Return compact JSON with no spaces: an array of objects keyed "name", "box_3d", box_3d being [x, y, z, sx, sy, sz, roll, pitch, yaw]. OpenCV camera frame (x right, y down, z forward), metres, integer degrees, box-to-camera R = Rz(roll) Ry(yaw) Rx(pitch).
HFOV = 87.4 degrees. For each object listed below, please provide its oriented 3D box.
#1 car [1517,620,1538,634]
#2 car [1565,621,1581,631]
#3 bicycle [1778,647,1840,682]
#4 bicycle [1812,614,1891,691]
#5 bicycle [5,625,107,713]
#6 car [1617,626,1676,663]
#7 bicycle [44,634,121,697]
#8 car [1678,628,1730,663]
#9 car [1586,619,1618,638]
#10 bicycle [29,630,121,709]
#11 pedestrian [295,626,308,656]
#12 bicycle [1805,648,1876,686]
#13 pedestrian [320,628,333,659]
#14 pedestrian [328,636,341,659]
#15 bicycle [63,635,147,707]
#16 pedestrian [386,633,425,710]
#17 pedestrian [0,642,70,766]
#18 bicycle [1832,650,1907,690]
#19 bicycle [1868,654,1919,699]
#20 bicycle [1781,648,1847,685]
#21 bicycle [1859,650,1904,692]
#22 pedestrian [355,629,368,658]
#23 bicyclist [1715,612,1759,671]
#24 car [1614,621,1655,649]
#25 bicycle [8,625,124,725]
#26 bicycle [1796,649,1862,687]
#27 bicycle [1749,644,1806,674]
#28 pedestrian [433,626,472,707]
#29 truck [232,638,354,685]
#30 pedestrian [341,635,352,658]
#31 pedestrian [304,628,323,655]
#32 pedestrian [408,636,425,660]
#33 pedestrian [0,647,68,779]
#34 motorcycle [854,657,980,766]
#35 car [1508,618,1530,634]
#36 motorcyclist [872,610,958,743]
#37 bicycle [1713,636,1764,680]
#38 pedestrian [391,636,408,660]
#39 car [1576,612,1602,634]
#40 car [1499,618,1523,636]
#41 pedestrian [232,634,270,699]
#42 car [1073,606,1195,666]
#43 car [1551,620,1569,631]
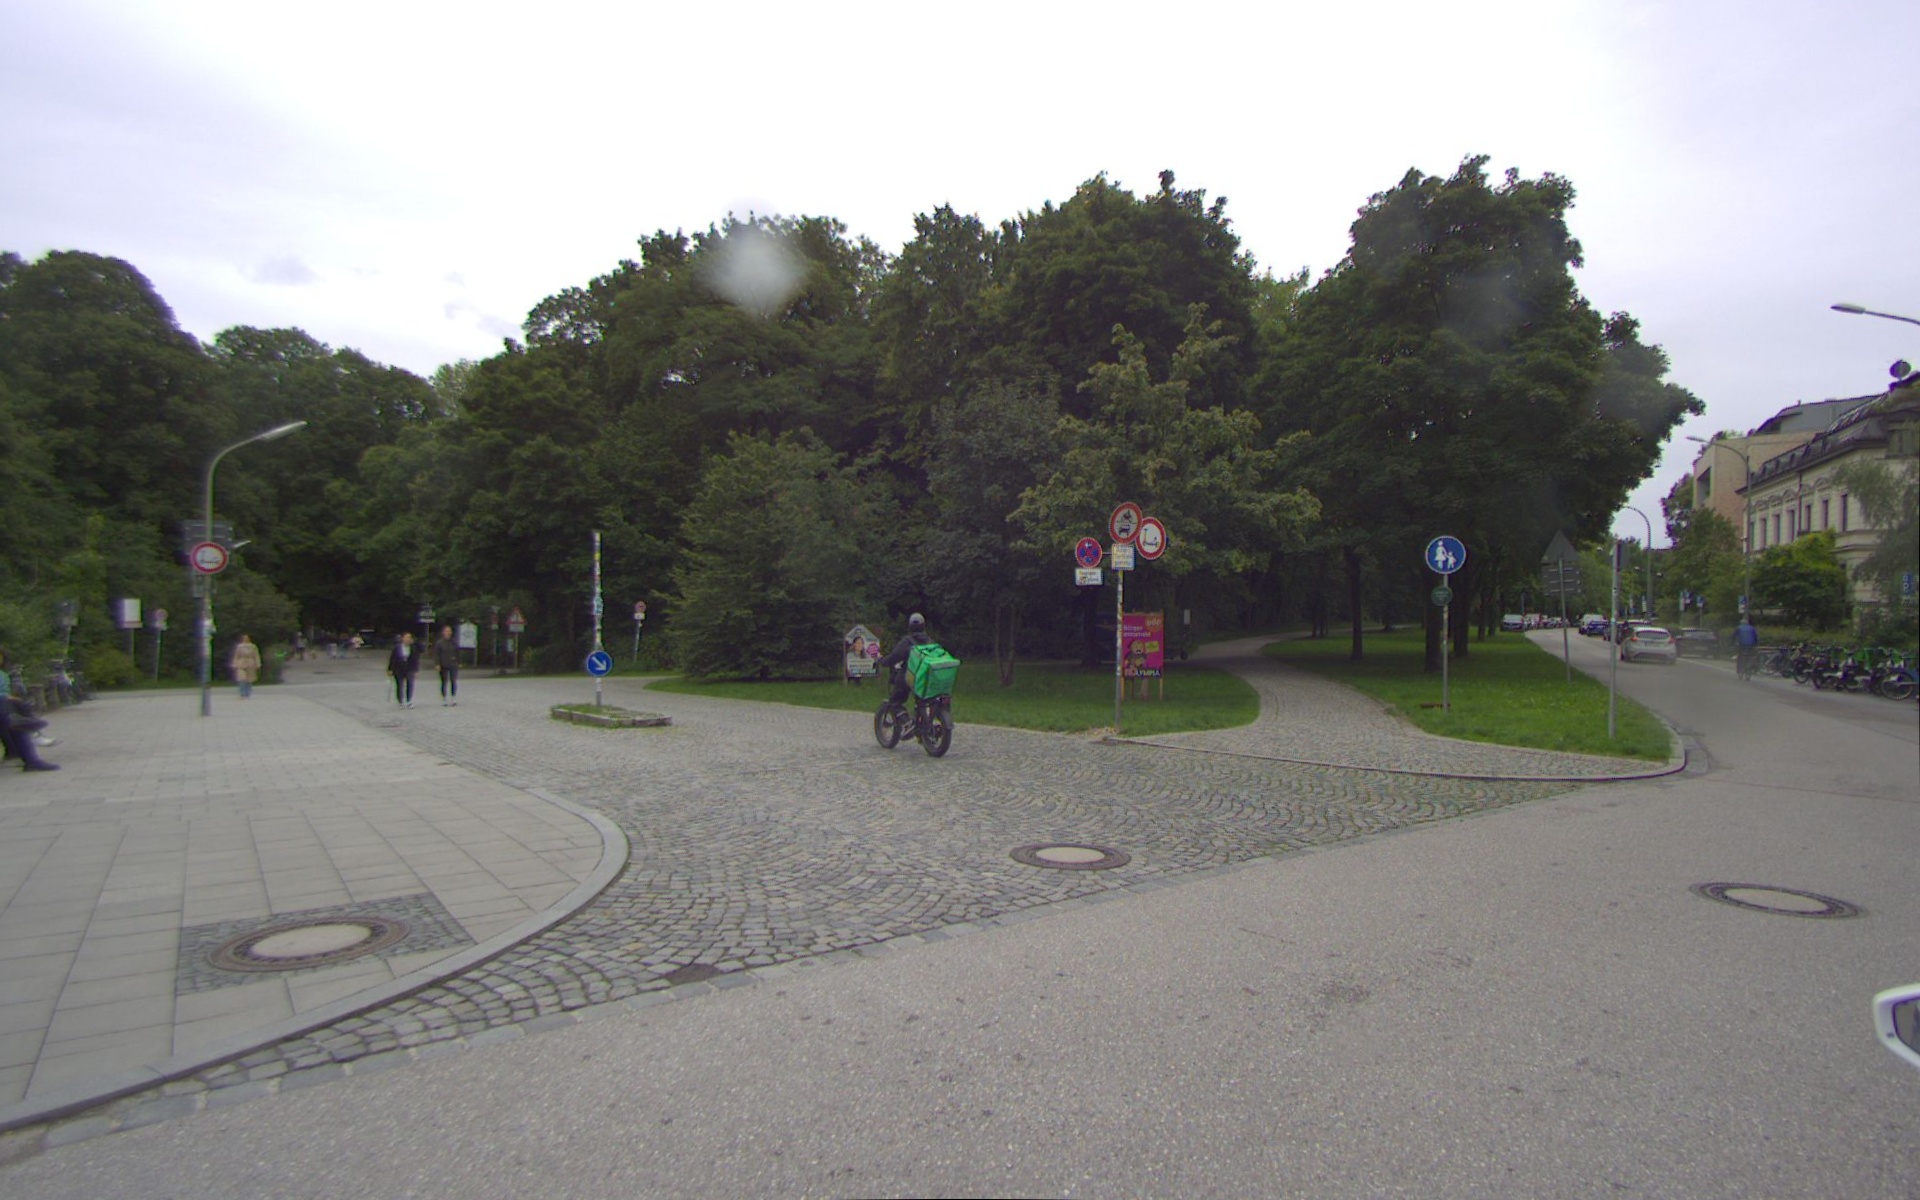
[{"name":"car","box_3d":[68.076,3.211,120.540,1.966,1.622,4.456,0,-1,32]},{"name":"car","box_3d":[102.274,4.324,167.542,1.968,1.622,4.451,0,-1,37]},{"name":"bicycle","box_3d":[25.374,1.918,30.026,1.507,1.028,0.409,0,-1,-1]},{"name":"bicycle","box_3d":[23.878,1.391,26.918,1.643,2.040,0.457,0,-1,3]},{"name":"bicycle","box_3d":[-18.993,1.387,21.080,2.956,1.684,1.048,0,-1,37]},{"name":"car","box_3d":[28.427,1.803,41.682,1.722,1.425,3.720,0,-1,30]},{"name":"bicycle","box_3d":[-25.488,1.852,29.145,3.102,1.684,1.048,0,-1,37]},{"name":"car","box_3d":[35.786,2.150,48.382,1.623,1.579,3.552,0,-1,30]},{"name":"car","box_3d":[57.290,2.511,89.683,1.963,1.622,4.249,1,-1,27]},{"name":"bicycle","box_3d":[-20.871,1.575,23.655,3.102,1.684,1.048,0,-1,38]},{"name":"pedestrian","box_3d":[-44.577,2.761,68.034,0.690,2.040,0.711,0,-1,-37]},{"name":"bicycle","box_3d":[24.123,1.834,27.529,1.507,1.028,0.409,0,-1,3]},{"name":"pedestrian","box_3d":[-43.203,2.964,68.469,0.690,2.040,0.711,0,-1,-37]},{"name":"pedestrian","box_3d":[-42.322,3.195,67.975,0.658,1.514,0.621,1,-1,-40]},{"name":"bicycle","box_3d":[-22.270,1.792,26.133,3.102,1.684,1.048,0,-1,38]},{"name":"pedestrian","box_3d":[-11.982,1.527,21.703,0.684,1.602,0.745,1,-1,-33]},{"name":"pedestrian","box_3d":[-10.990,1.182,11.605,1.025,1.353,0.943,1,-1,-43]},{"name":"bicycle","box_3d":[23.900,1.833,26.413,1.506,1.028,0.367,0,-1,8]},{"name":"bicycle","box_3d":[22.460,1.811,23.672,1.509,1.028,0.367,-1,-1,27]},{"name":"bicycle","box_3d":[24.274,1.877,28.559,1.507,1.028,0.409,0,-1,-1]},{"name":"bicycle","box_3d":[23.320,1.787,25.415,1.519,1.028,0.364,1,-1,-29]},{"name":"pedestrian","box_3d":[-41.306,2.991,69.329,0.690,2.040,0.711,0,-1,-37]},{"name":"bicyclist","box_3d":[24.175,1.278,31.261,0.900,1.787,1.213,0,-1,30]},{"name":"car","box_3d":[44.430,2.282,66.263,1.765,1.702,3.995,0,-1,27]},{"name":"bicycle","box_3d":[-16.748,1.333,18.782,3.102,1.684,1.048,0,-1,37]},{"name":"bicycle","box_3d":[24.267,1.892,28.055,1.507,1.028,0.409,0,-1,-1]},{"name":"bicycle","box_3d":[28.727,2.059,35.308,1.506,1.028,0.410,0,-1,13]},{"name":"pedestrian","box_3d":[-11.194,1.446,22.154,0.654,1.720,0.744,1,-1,-35]},{"name":"truck","box_3d":[-39.135,3.543,59.117,2.357,2.493,5.483,0,-1,30]},{"name":"pedestrian","box_3d":[-41.828,3.170,68.486,0.536,1.514,0.537,1,-1,-40]},{"name":"pedestrian","box_3d":[-49.984,3.177,77.617,1.045,2.040,1.134,1,-2,-43]},{"name":"pedestrian","box_3d":[-39.452,3.482,72.929,0.721,1.674,0.879,-1,-1,36]},{"name":"pedestrian","box_3d":[-9.993,1.149,10.283,1.257,1.285,0.839,1,-1,-44]},{"name":"motorcycle","box_3d":[-0.563,1.289,12.125,0.710,1.113,1.962,1,-1,-29]},{"name":"car","box_3d":[59.965,2.814,107.764,1.964,1.622,4.461,0,-1,28]},{"name":"motorcyclist","box_3d":[-0.551,0.891,12.114,0.705,1.521,0.892,1,-1,-29]},{"name":"bicycle","box_3d":[24.142,1.771,31.190,0.907,1.269,2.317,0,-1,30]},{"name":"pedestrian","box_3d":[-39.075,3.355,70.047,0.867,1.674,0.731,0,-1,-13]},{"name":"car","box_3d":[61.388,2.250,98.122,2.036,1.992,4.966,0,-1,31]},{"name":"car","box_3d":[51.342,2.498,93.638,1.964,1.622,4.461,0,-1,28]},{"name":"pedestrian","box_3d":[-19.638,1.824,27.806,0.743,1.728,1.099,1,-1,-40]},{"name":"car","box_3d":[6.115,1.264,35.541,3.925,2.040,1.786,1,-1,-6]},{"name":"car","box_3d":[92.971,3.922,155.701,1.968,1.622,4.450,0,-1,37]}]
